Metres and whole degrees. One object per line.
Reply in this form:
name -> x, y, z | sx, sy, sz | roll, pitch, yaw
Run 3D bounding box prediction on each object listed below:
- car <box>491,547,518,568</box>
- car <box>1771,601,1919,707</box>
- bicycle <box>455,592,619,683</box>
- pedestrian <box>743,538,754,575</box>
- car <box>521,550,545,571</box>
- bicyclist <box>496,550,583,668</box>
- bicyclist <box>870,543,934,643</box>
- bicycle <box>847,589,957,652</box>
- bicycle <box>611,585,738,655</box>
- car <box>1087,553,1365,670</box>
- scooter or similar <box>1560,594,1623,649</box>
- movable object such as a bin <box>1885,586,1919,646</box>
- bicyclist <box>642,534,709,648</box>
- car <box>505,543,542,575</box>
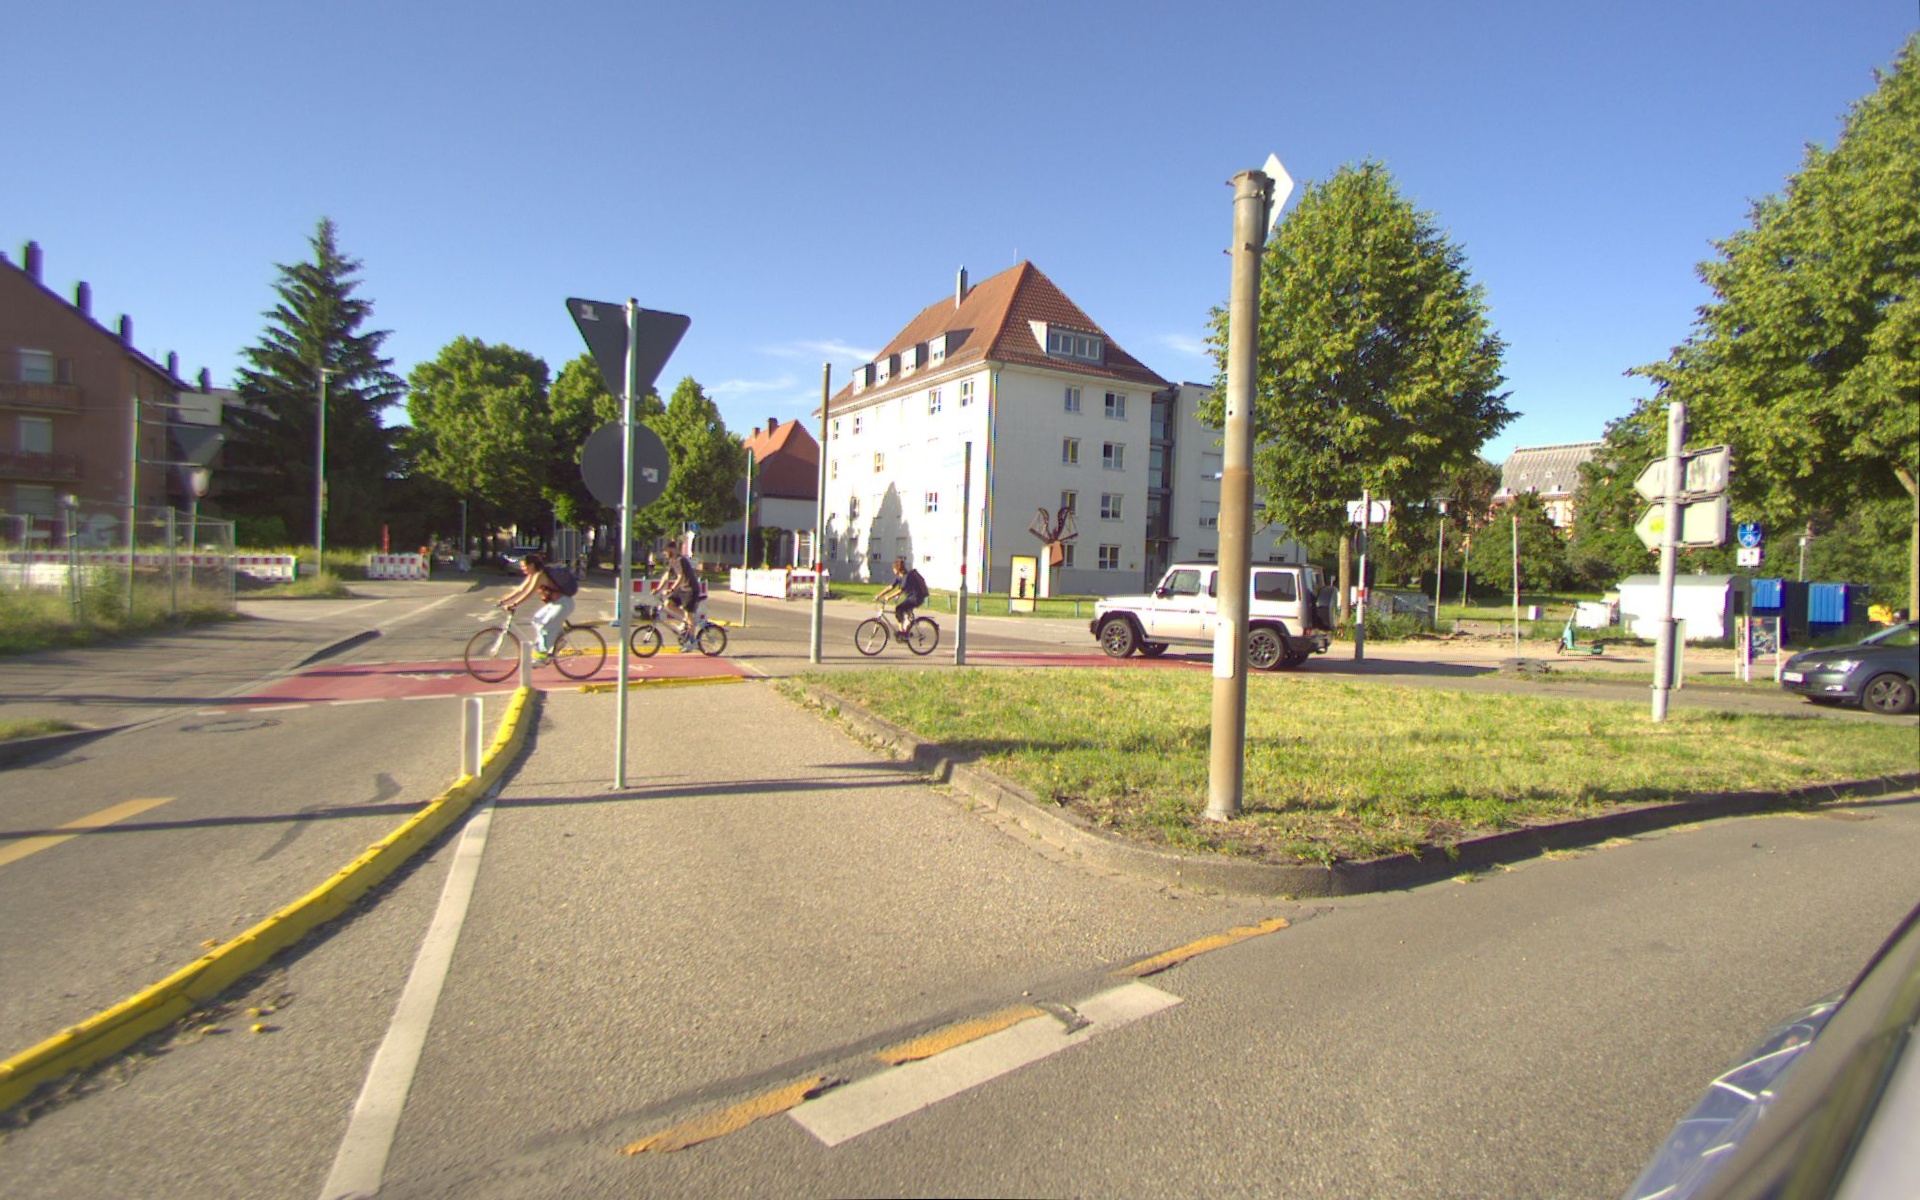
car -> -41.171, -3.828, 91.417 | 1.959, 1.721, 4.007 | 1, 1, -27
car -> 14.878, 0.834, 14.959 | 4.089, 1.454, 1.713 | 2, 1, 13
bicycle -> -5.222, 0.450, 12.526 | 1.787, 1.040, 0.661 | 1, 1, -30
pedestrian -> -11.658, -2.399, 55.666 | 0.462, 2.038, 0.456 | 2, 1, -20
car -> -43.026, -3.925, 101.988 | 1.958, 1.895, 4.007 | 3, 0, -26
bicyclist -> -5.209, 0.094, 12.521 | 0.916, 1.402, 0.661 | -1, 1, -29
bicyclist -> -1.028, -0.118, 17.858 | 0.880, 1.686, 0.661 | 2, -1, -25
bicycle -> -1.026, 0.356, 17.874 | 1.786, 1.040, 0.661 | 2, 0, -24
bicycle -> -4.510, 0.327, 16.046 | 1.791, 1.040, 0.659 | 2, -1, -40
car -> 5.018, 0.135, 19.351 | 4.722, 1.921, 1.978 | 3, 1, 35
scooter or similar -> 14.906, 0.500, 23.898 | 1.239, 1.263, 0.445 | 1, -1, -6
movable object such as a bin -> 46.683, 0.821, 47.164 | 1.964, 2.824, 5.042 | 3, -1, -40
bicyclist -> -4.505, -0.147, 16.027 | 0.798, 1.751, 0.654 | 1, 1, -40
car -> -27.776, -2.617, 64.528 | 1.958, 1.923, 4.009 | 1, 1, -21
